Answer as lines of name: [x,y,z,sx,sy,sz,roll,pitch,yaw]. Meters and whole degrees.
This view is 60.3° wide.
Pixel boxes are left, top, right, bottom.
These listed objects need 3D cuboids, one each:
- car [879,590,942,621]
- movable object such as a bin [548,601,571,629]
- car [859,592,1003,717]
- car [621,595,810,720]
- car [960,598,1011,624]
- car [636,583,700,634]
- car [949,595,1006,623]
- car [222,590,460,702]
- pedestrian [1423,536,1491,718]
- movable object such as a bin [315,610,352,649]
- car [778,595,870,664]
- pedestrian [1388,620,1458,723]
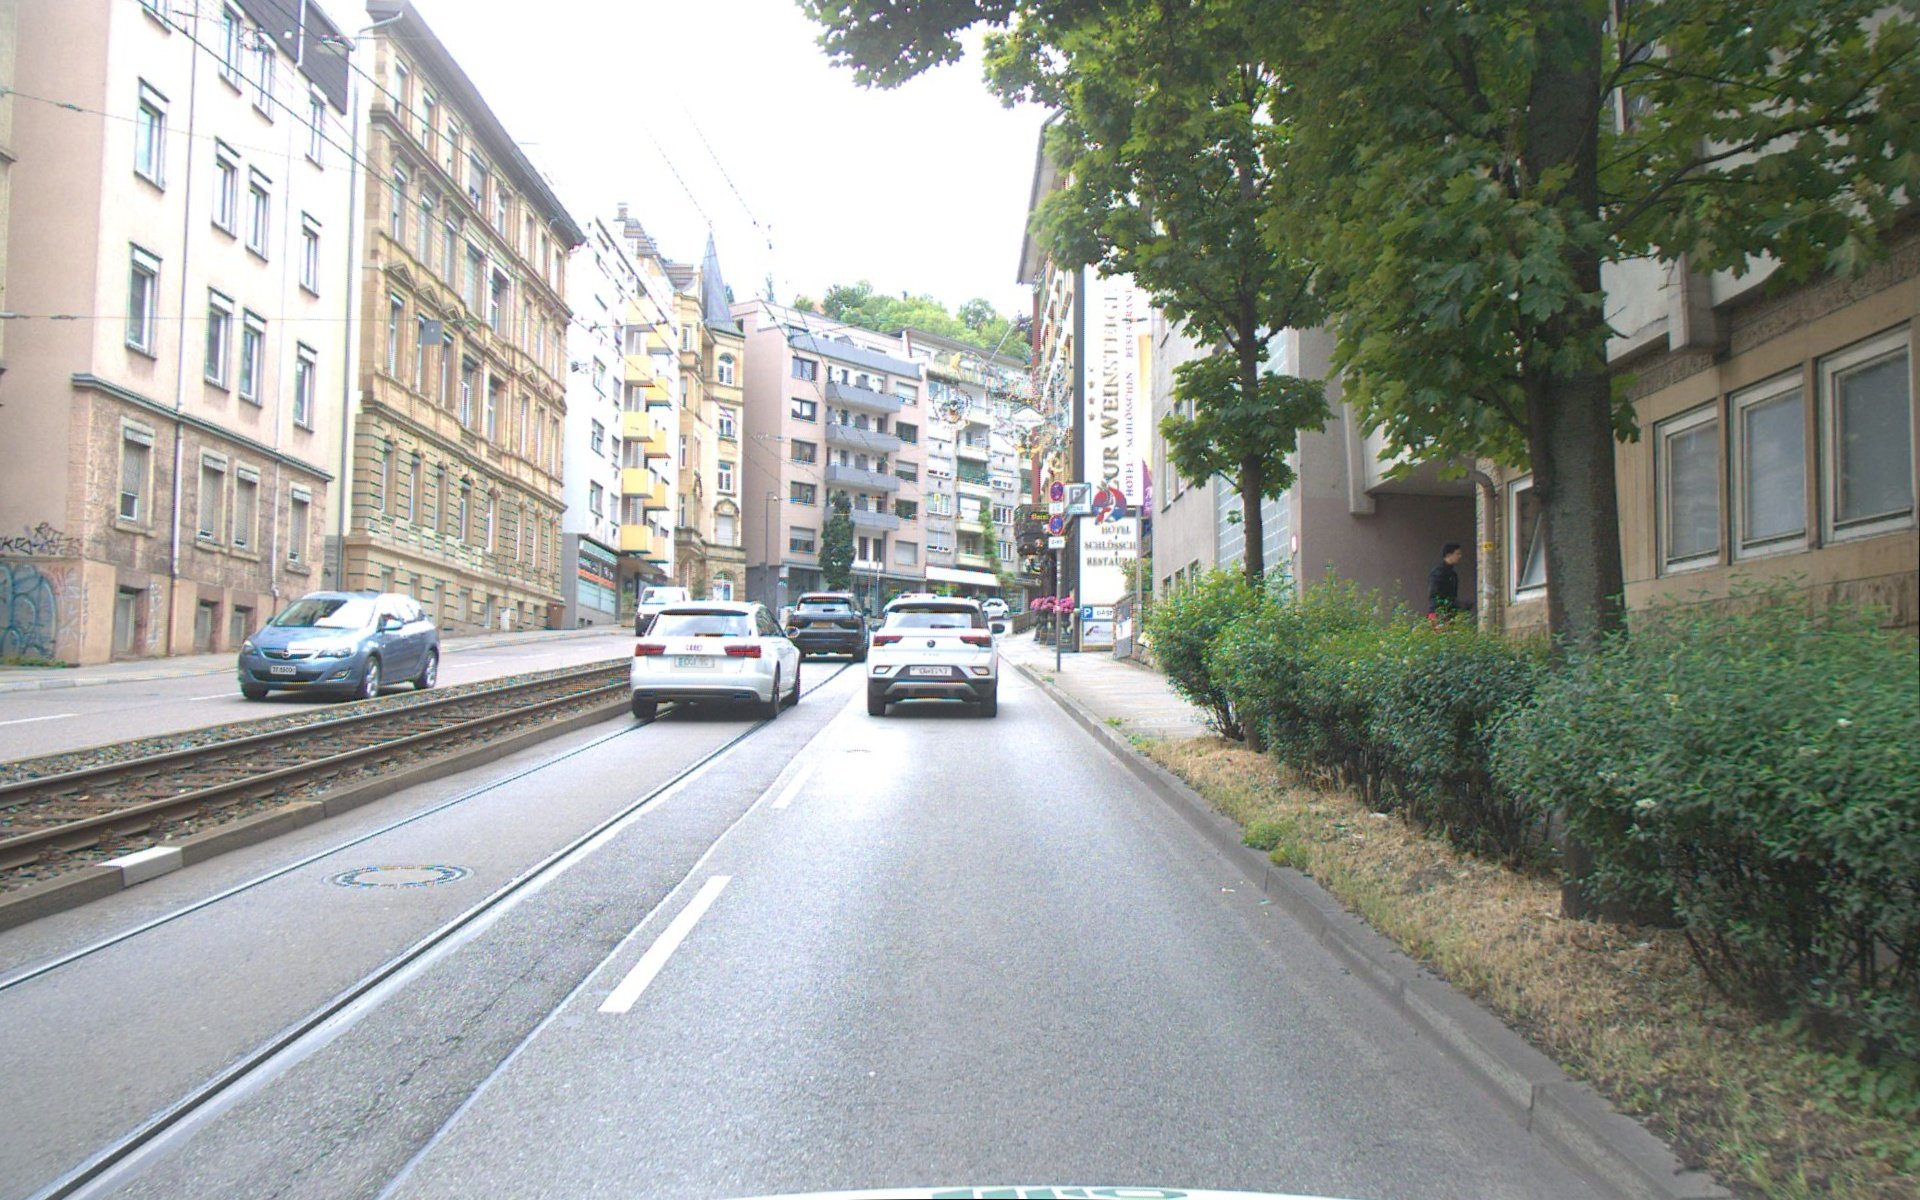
car: [-3.454,0.388,116.460,1.961,2.071,4.681,1,0,37]
movable object such as a bin: [-15.491,0.585,64.026,0.754,1.092,0.561,1,0,-1]
car: [-0.325,0.703,23.268,1.840,1.582,4.001,1,0,1]
car: [-3.148,0.695,22.193,1.840,1.480,4.617,1,0,0]
car: [1.822,0.777,117.845,1.763,1.758,3.987,1,0,34]
car: [-11.527,0.319,65.531,1.918,1.933,5.314,1,0,-4]
car: [1.333,0.672,121.771,1.874,1.956,4.413,1,0,39]
car: [-8.973,0.612,24.429,1.806,1.480,4.660,1,0,-1]
pedestrian: [5.344,0.281,17.775,0.599,1.908,0.591,0,0,27]
movable object such as a bin: [-15.546,0.725,41.060,0.616,0.926,0.676,4,0,-1]
car: [-3.317,0.689,41.086,1.996,1.599,4.357,1,0,-1]
pedestrian: [4.569,0.700,16.340,0.514,0.982,0.607,1,0,0]
